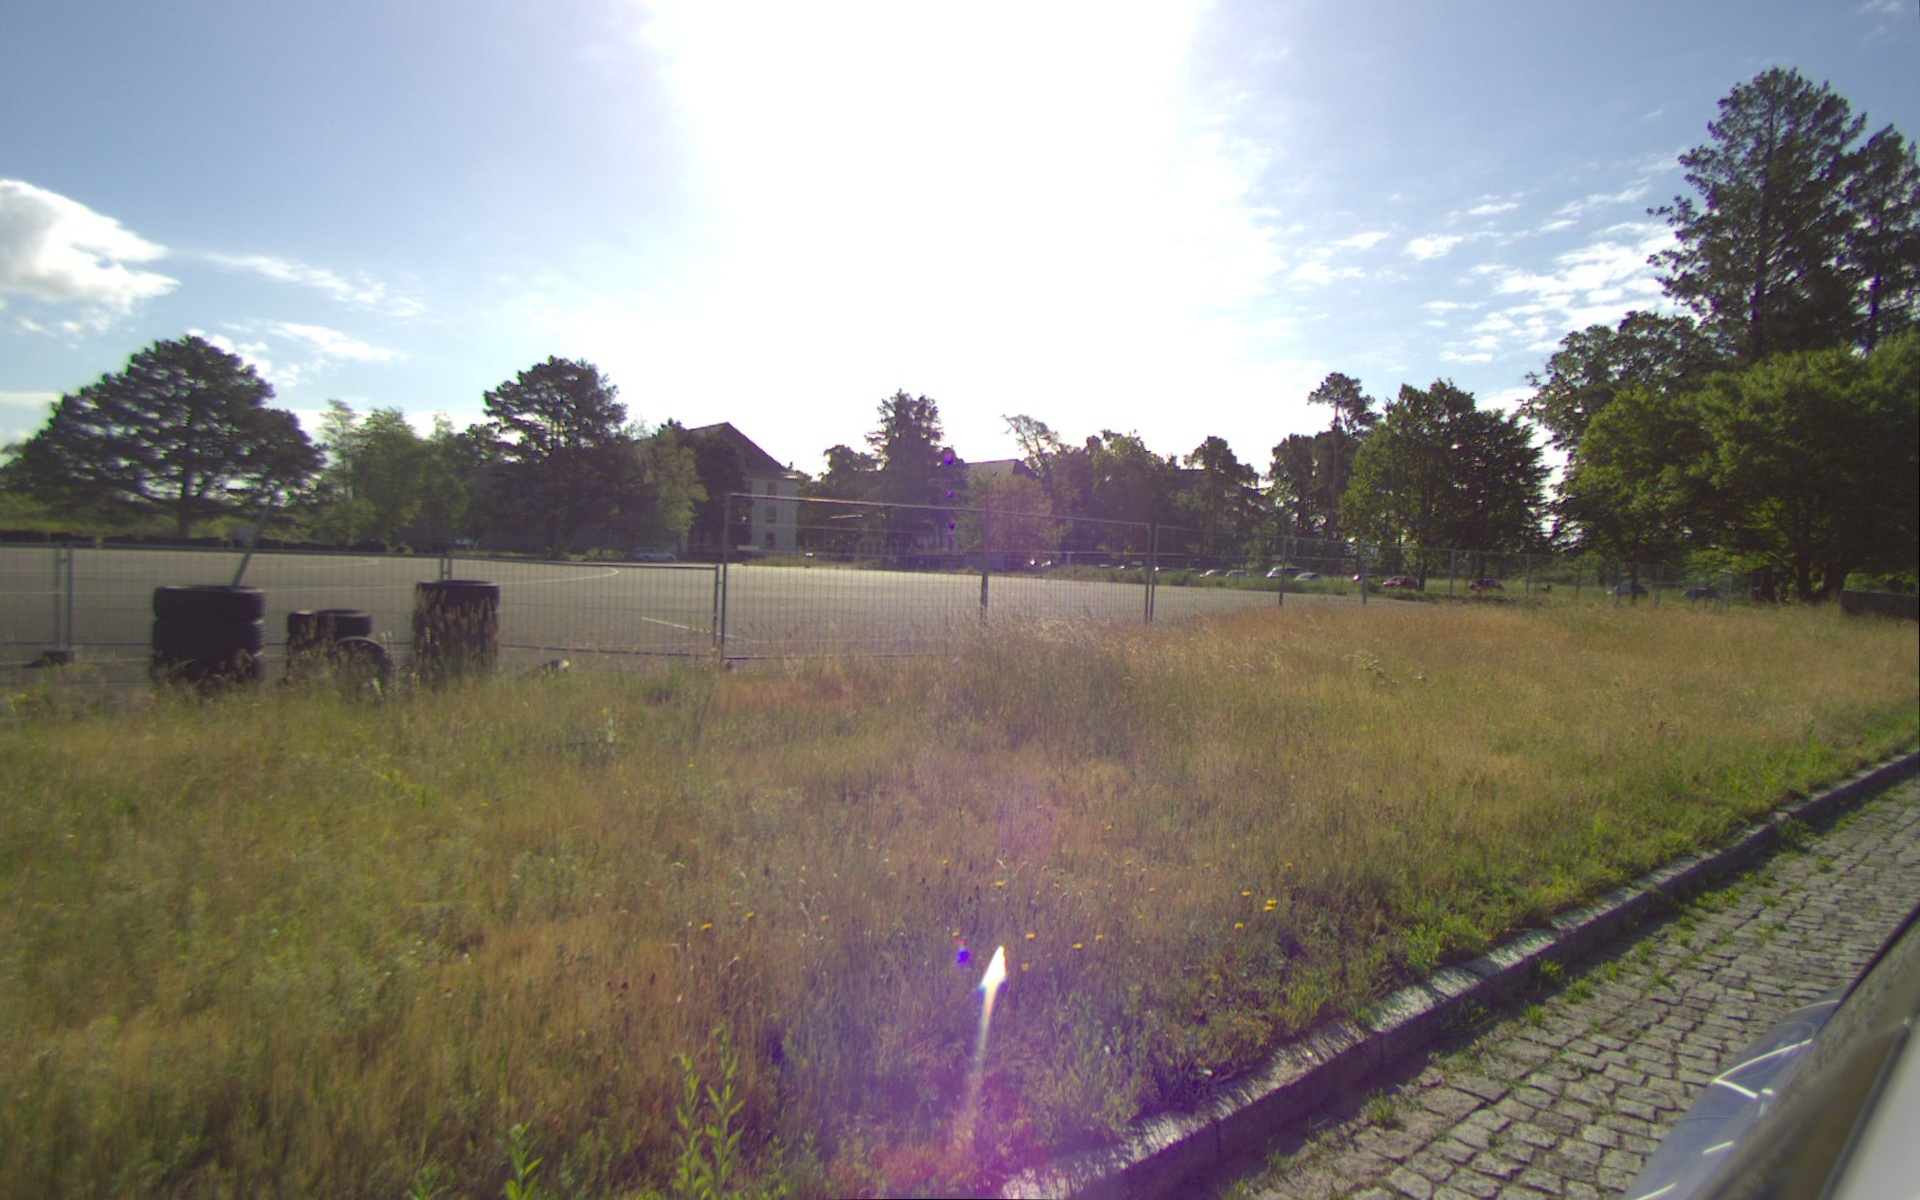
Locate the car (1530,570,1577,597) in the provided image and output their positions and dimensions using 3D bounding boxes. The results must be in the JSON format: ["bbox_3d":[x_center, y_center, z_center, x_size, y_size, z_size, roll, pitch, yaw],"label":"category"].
[{"bbox_3d":[46.647,-1.301,79.557,3.931,2.038,1.998,0,3,-41],"label":"car"}]

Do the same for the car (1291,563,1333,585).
[{"bbox_3d":[33.461,-2.469,96.128,3.930,1.971,1.998,0,3,-41],"label":"car"}]

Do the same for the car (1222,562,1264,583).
[{"bbox_3d":[28.586,-2.724,102.206,3.921,2.039,2.001,0,0,-32],"label":"car"}]

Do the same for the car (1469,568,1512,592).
[{"bbox_3d":[43.497,-1.642,82.966,1.995,1.838,3.936,4,3,44],"label":"car"}]

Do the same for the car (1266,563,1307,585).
[{"bbox_3d":[31.536,-2.527,97.732,3.930,2.038,1.998,0,3,-41],"label":"car"}]

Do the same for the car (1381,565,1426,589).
[{"bbox_3d":[38.955,-1.999,88.890,3.929,2.038,1.998,0,3,-40],"label":"car"}]

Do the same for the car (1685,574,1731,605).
[{"bbox_3d":[52.389,-0.768,70.852,1.995,2.038,3.936,4,3,44],"label":"car"}]

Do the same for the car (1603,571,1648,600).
[{"bbox_3d":[49.377,-1.075,75.068,1.995,2.038,3.936,4,3,44],"label":"car"}]

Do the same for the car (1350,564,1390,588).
[{"bbox_3d":[36.891,-2.139,91.017,1.994,2.038,3.938,4,3,43],"label":"car"}]
